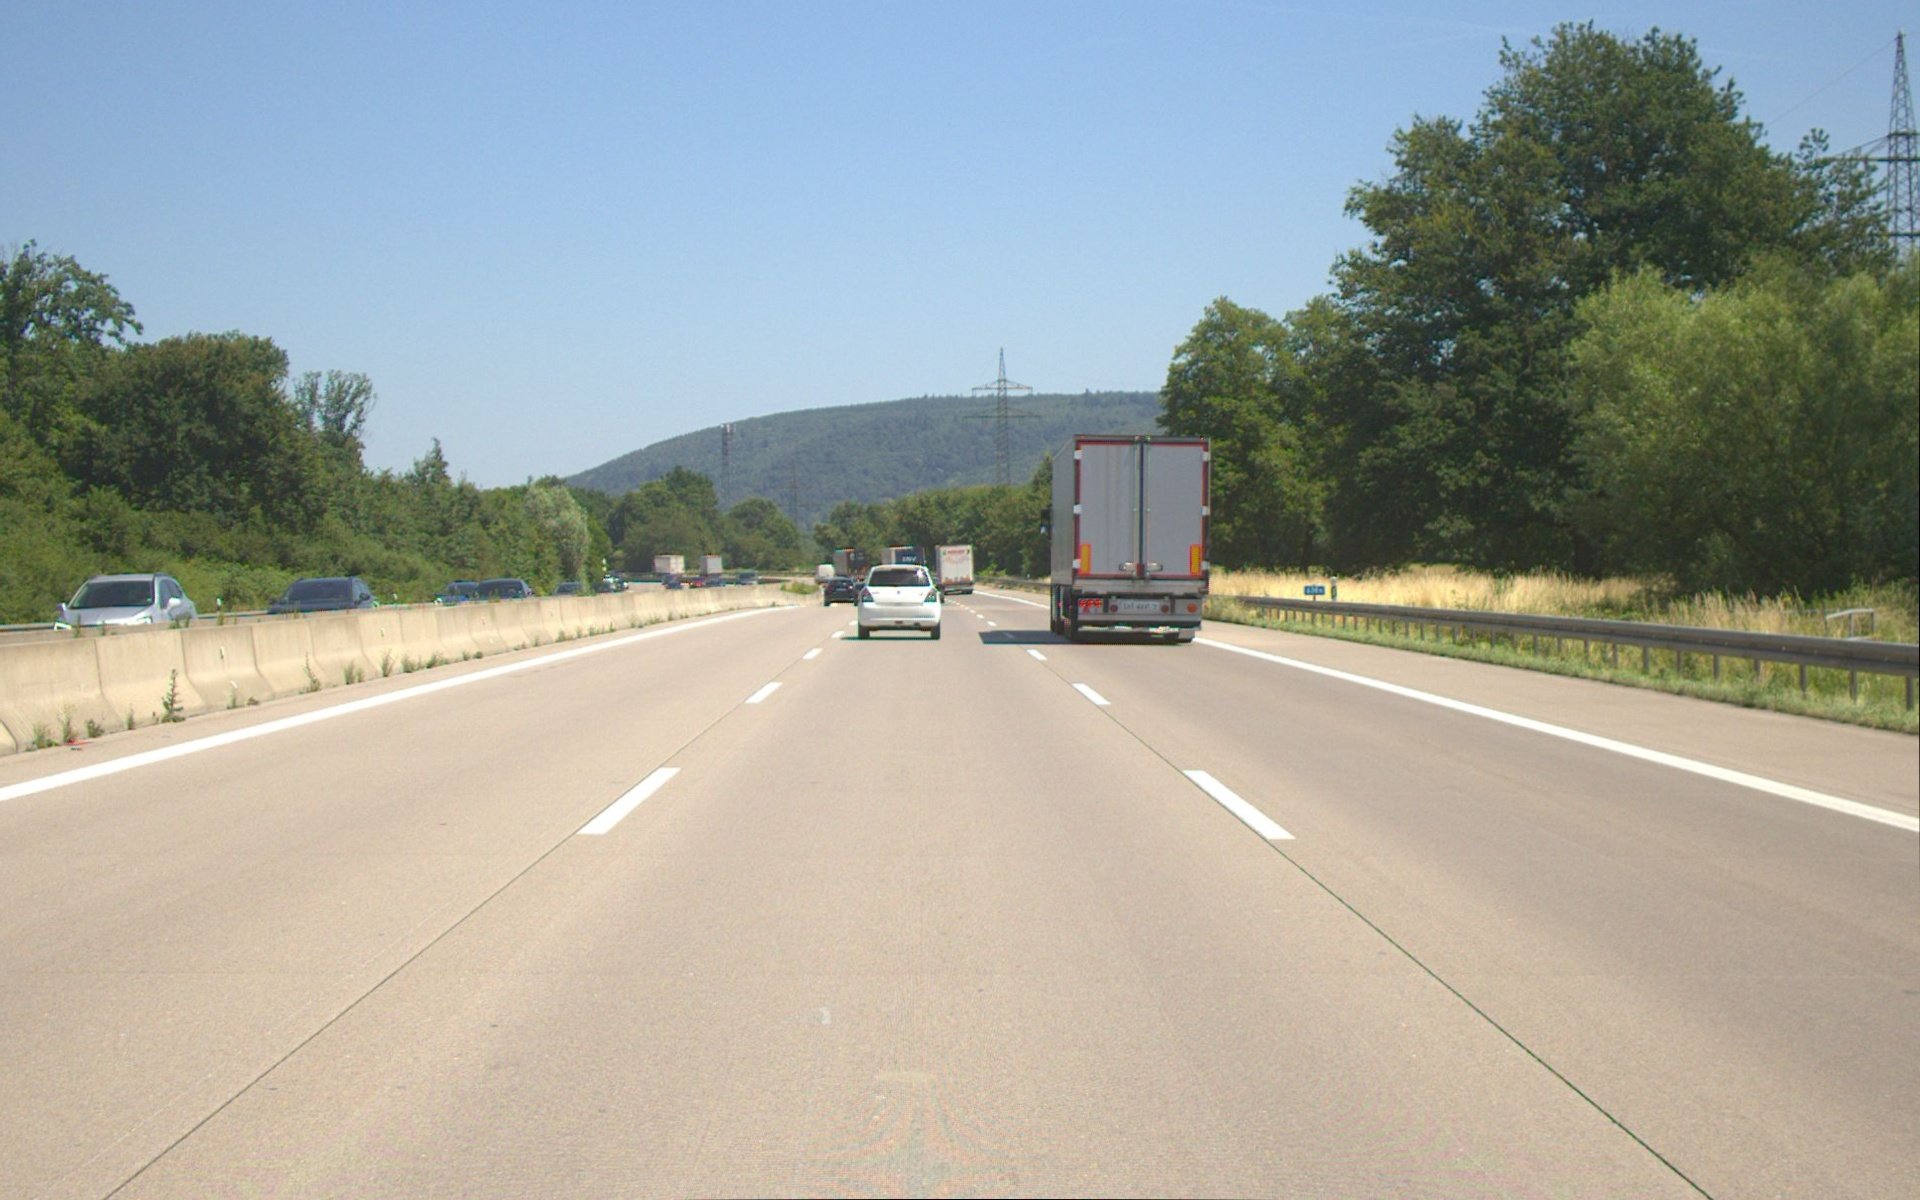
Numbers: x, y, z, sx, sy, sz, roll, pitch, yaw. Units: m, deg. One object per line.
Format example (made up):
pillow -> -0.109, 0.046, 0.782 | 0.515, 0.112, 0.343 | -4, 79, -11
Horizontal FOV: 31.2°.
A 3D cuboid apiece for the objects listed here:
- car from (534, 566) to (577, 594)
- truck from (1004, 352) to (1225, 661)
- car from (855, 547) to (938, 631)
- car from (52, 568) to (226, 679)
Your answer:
car -> -19.698, -0.990, 167.723 | 1.676, 1.311, 4.861 | 0, 1, -2
truck -> 3.000, -1.889, 73.283 | 3.577, 5.767, 18.248 | 0, 1, -1
car -> -1.295, -0.240, 70.431 | 1.641, 1.656, 3.360 | 1, 1, -1
car -> -13.366, 0.344, 56.234 | 1.709, 1.672, 4.929 | -1, 1, -1
